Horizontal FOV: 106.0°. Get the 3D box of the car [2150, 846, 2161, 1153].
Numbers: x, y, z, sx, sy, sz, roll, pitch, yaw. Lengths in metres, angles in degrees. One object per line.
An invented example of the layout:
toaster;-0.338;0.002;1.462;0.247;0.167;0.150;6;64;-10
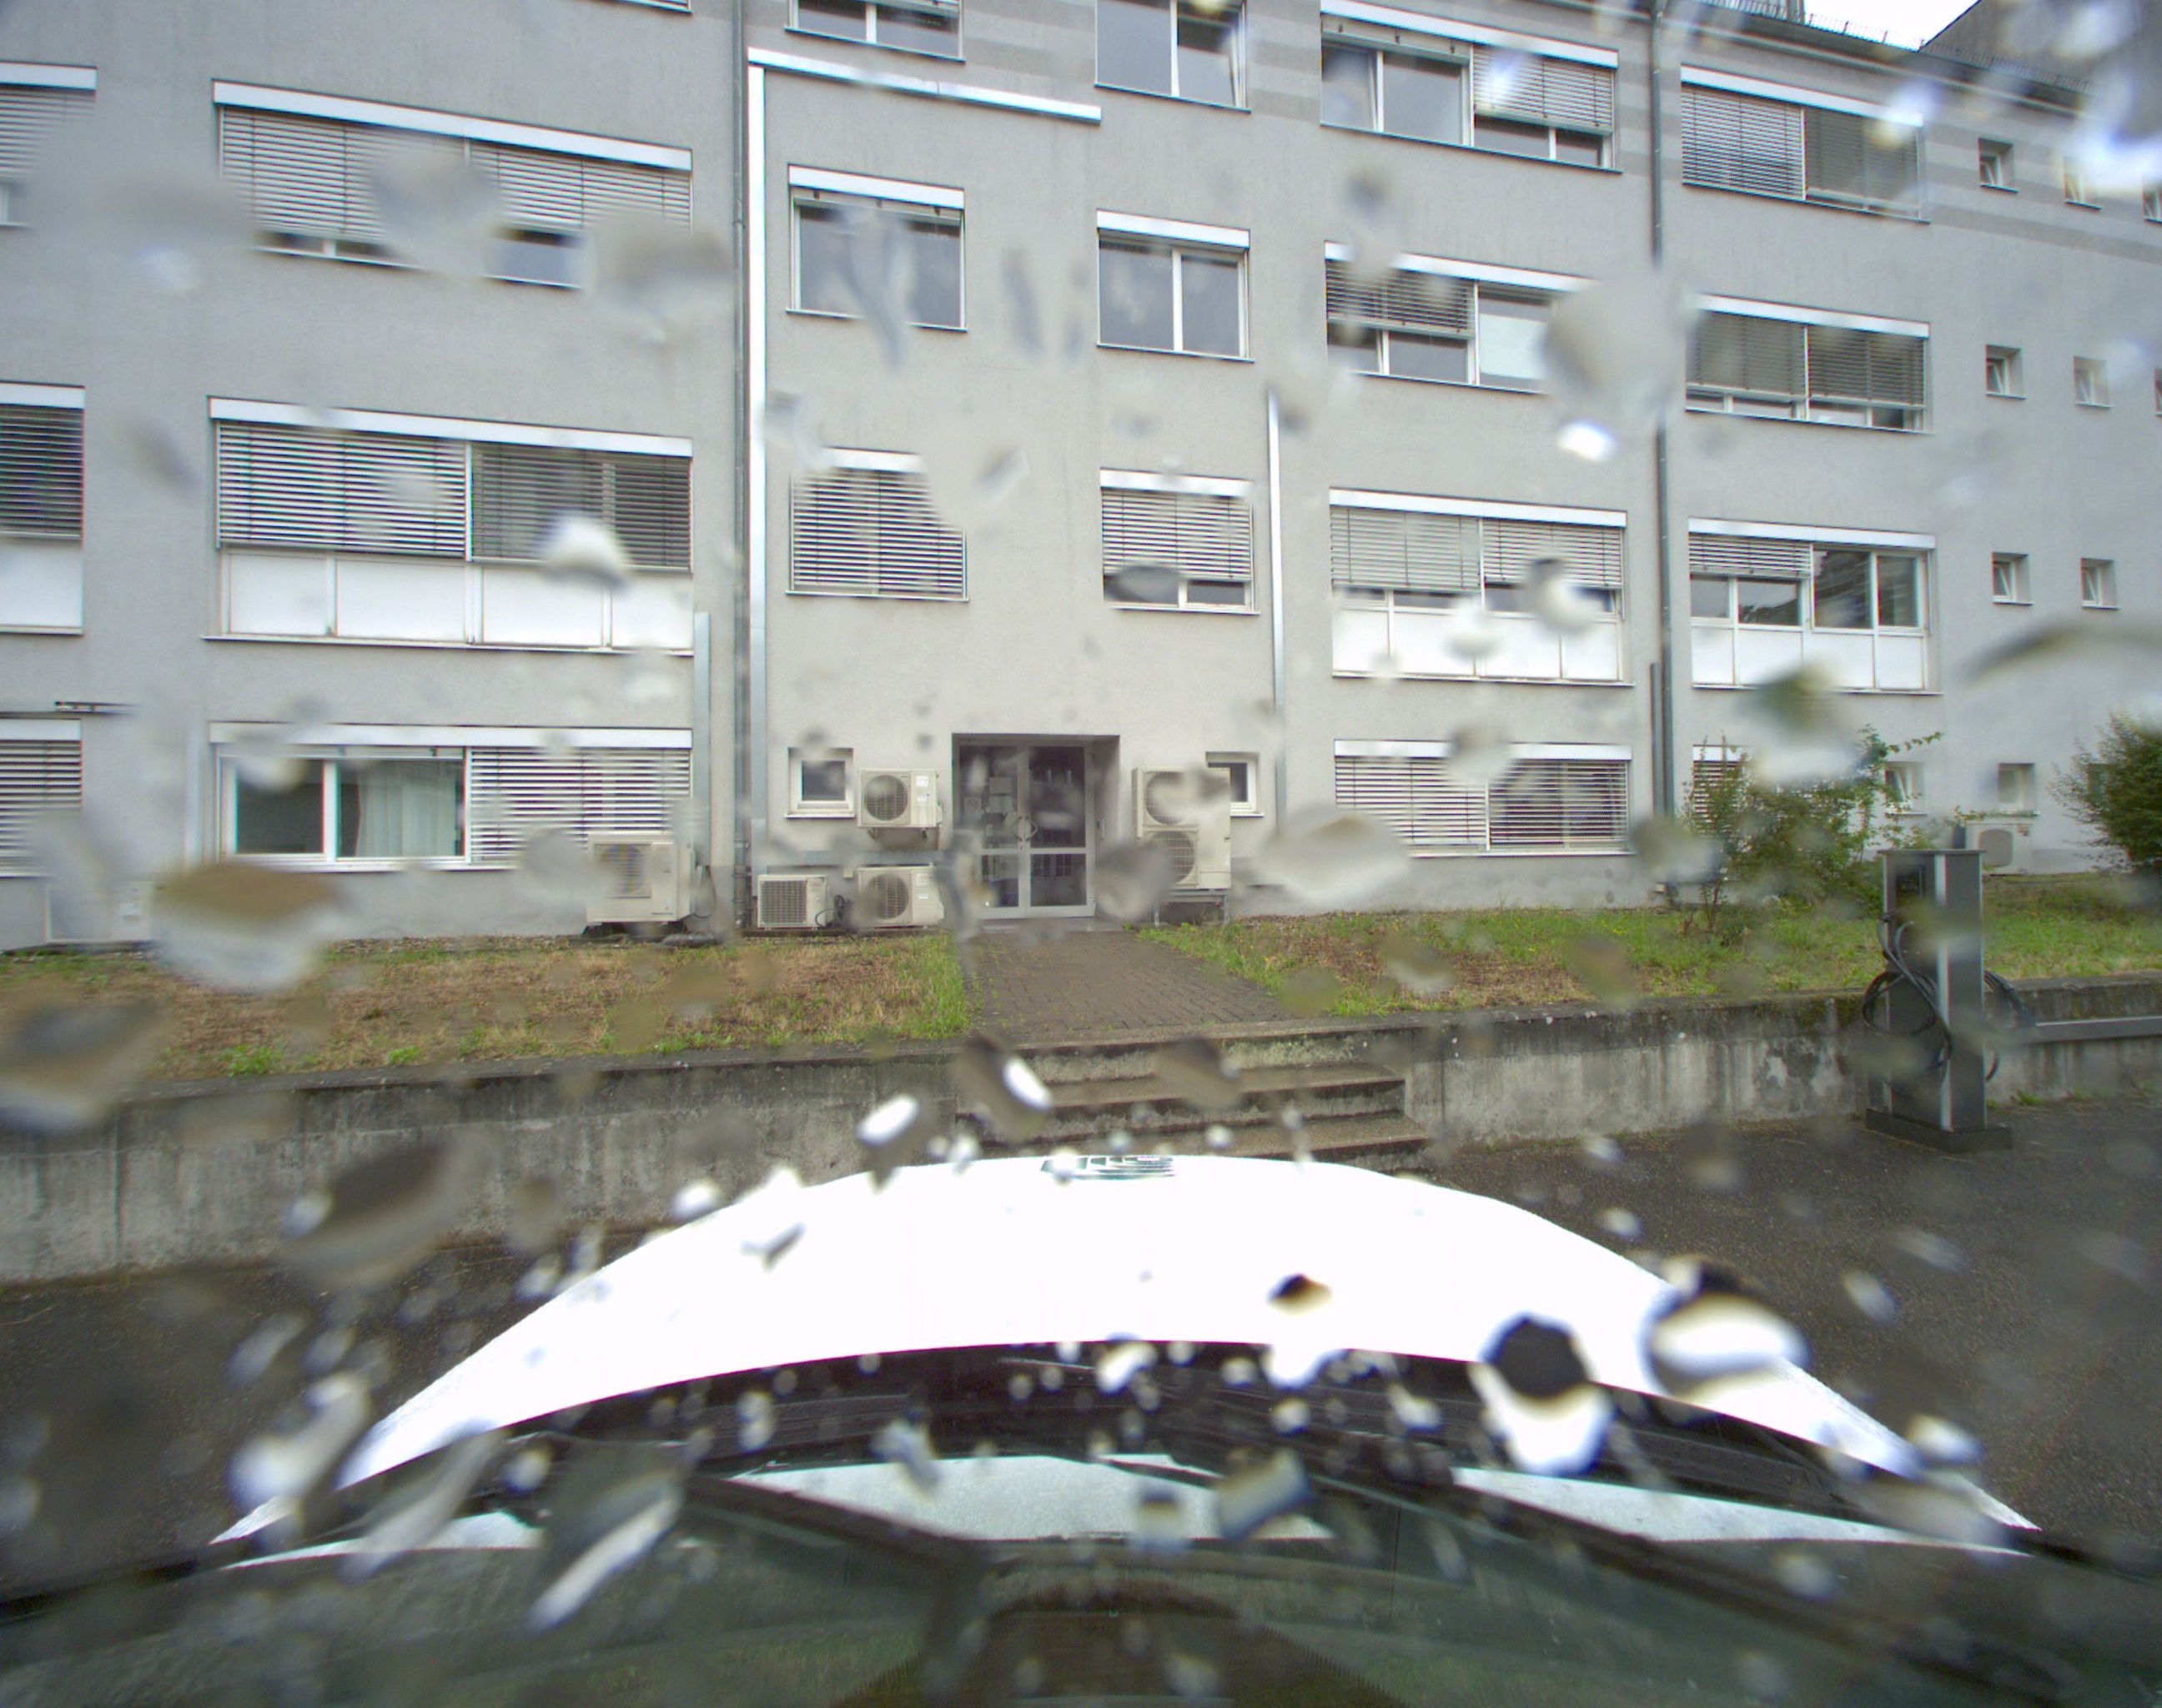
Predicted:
car;6.503;0.673;2.042;1.992;1.490;4.210;0;-1;-7
